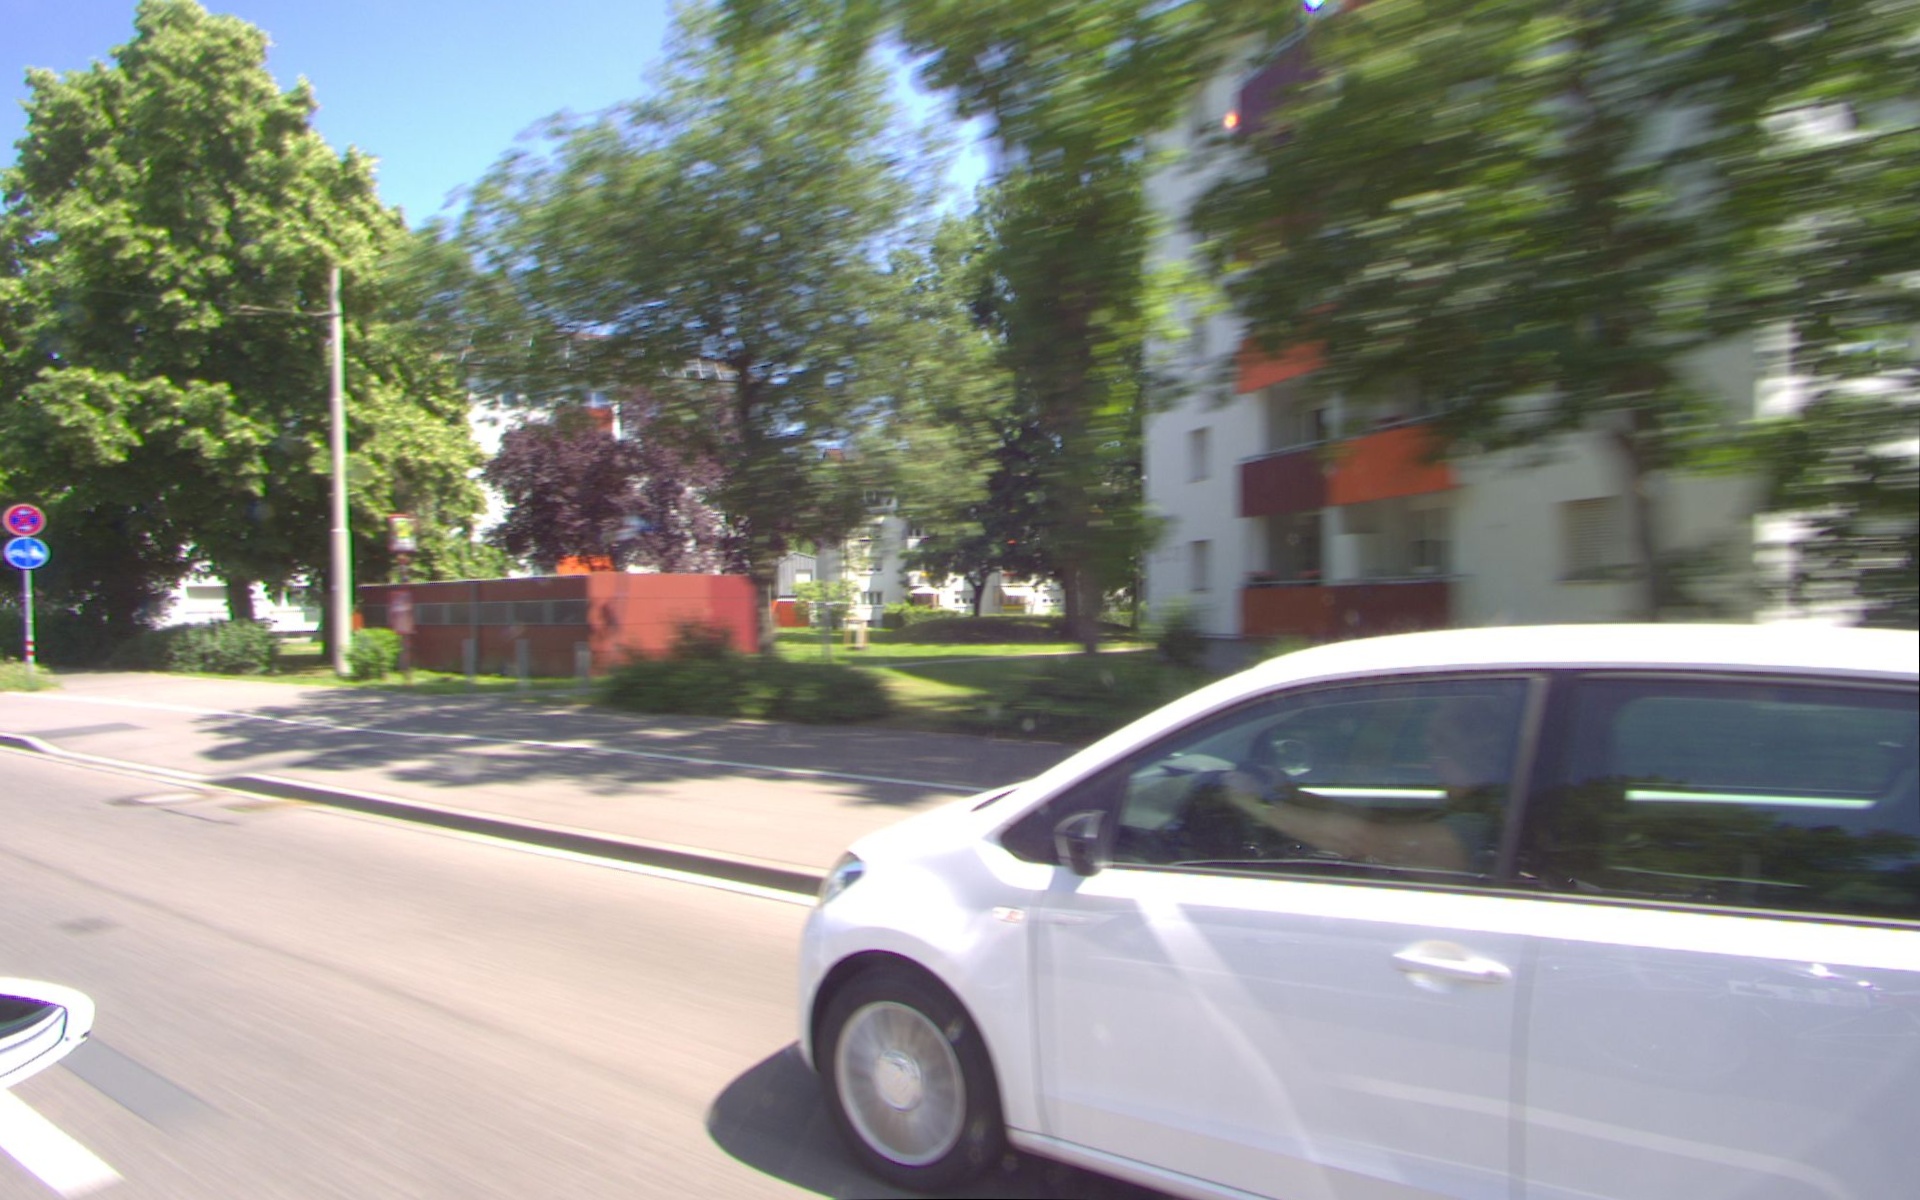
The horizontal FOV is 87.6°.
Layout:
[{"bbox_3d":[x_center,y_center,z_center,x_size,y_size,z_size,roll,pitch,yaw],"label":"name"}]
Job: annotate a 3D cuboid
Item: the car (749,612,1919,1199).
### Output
[{"bbox_3d":[1.447,0.779,2.529,3.799,1.468,1.656,-1,-1,32],"label":"car"}]
